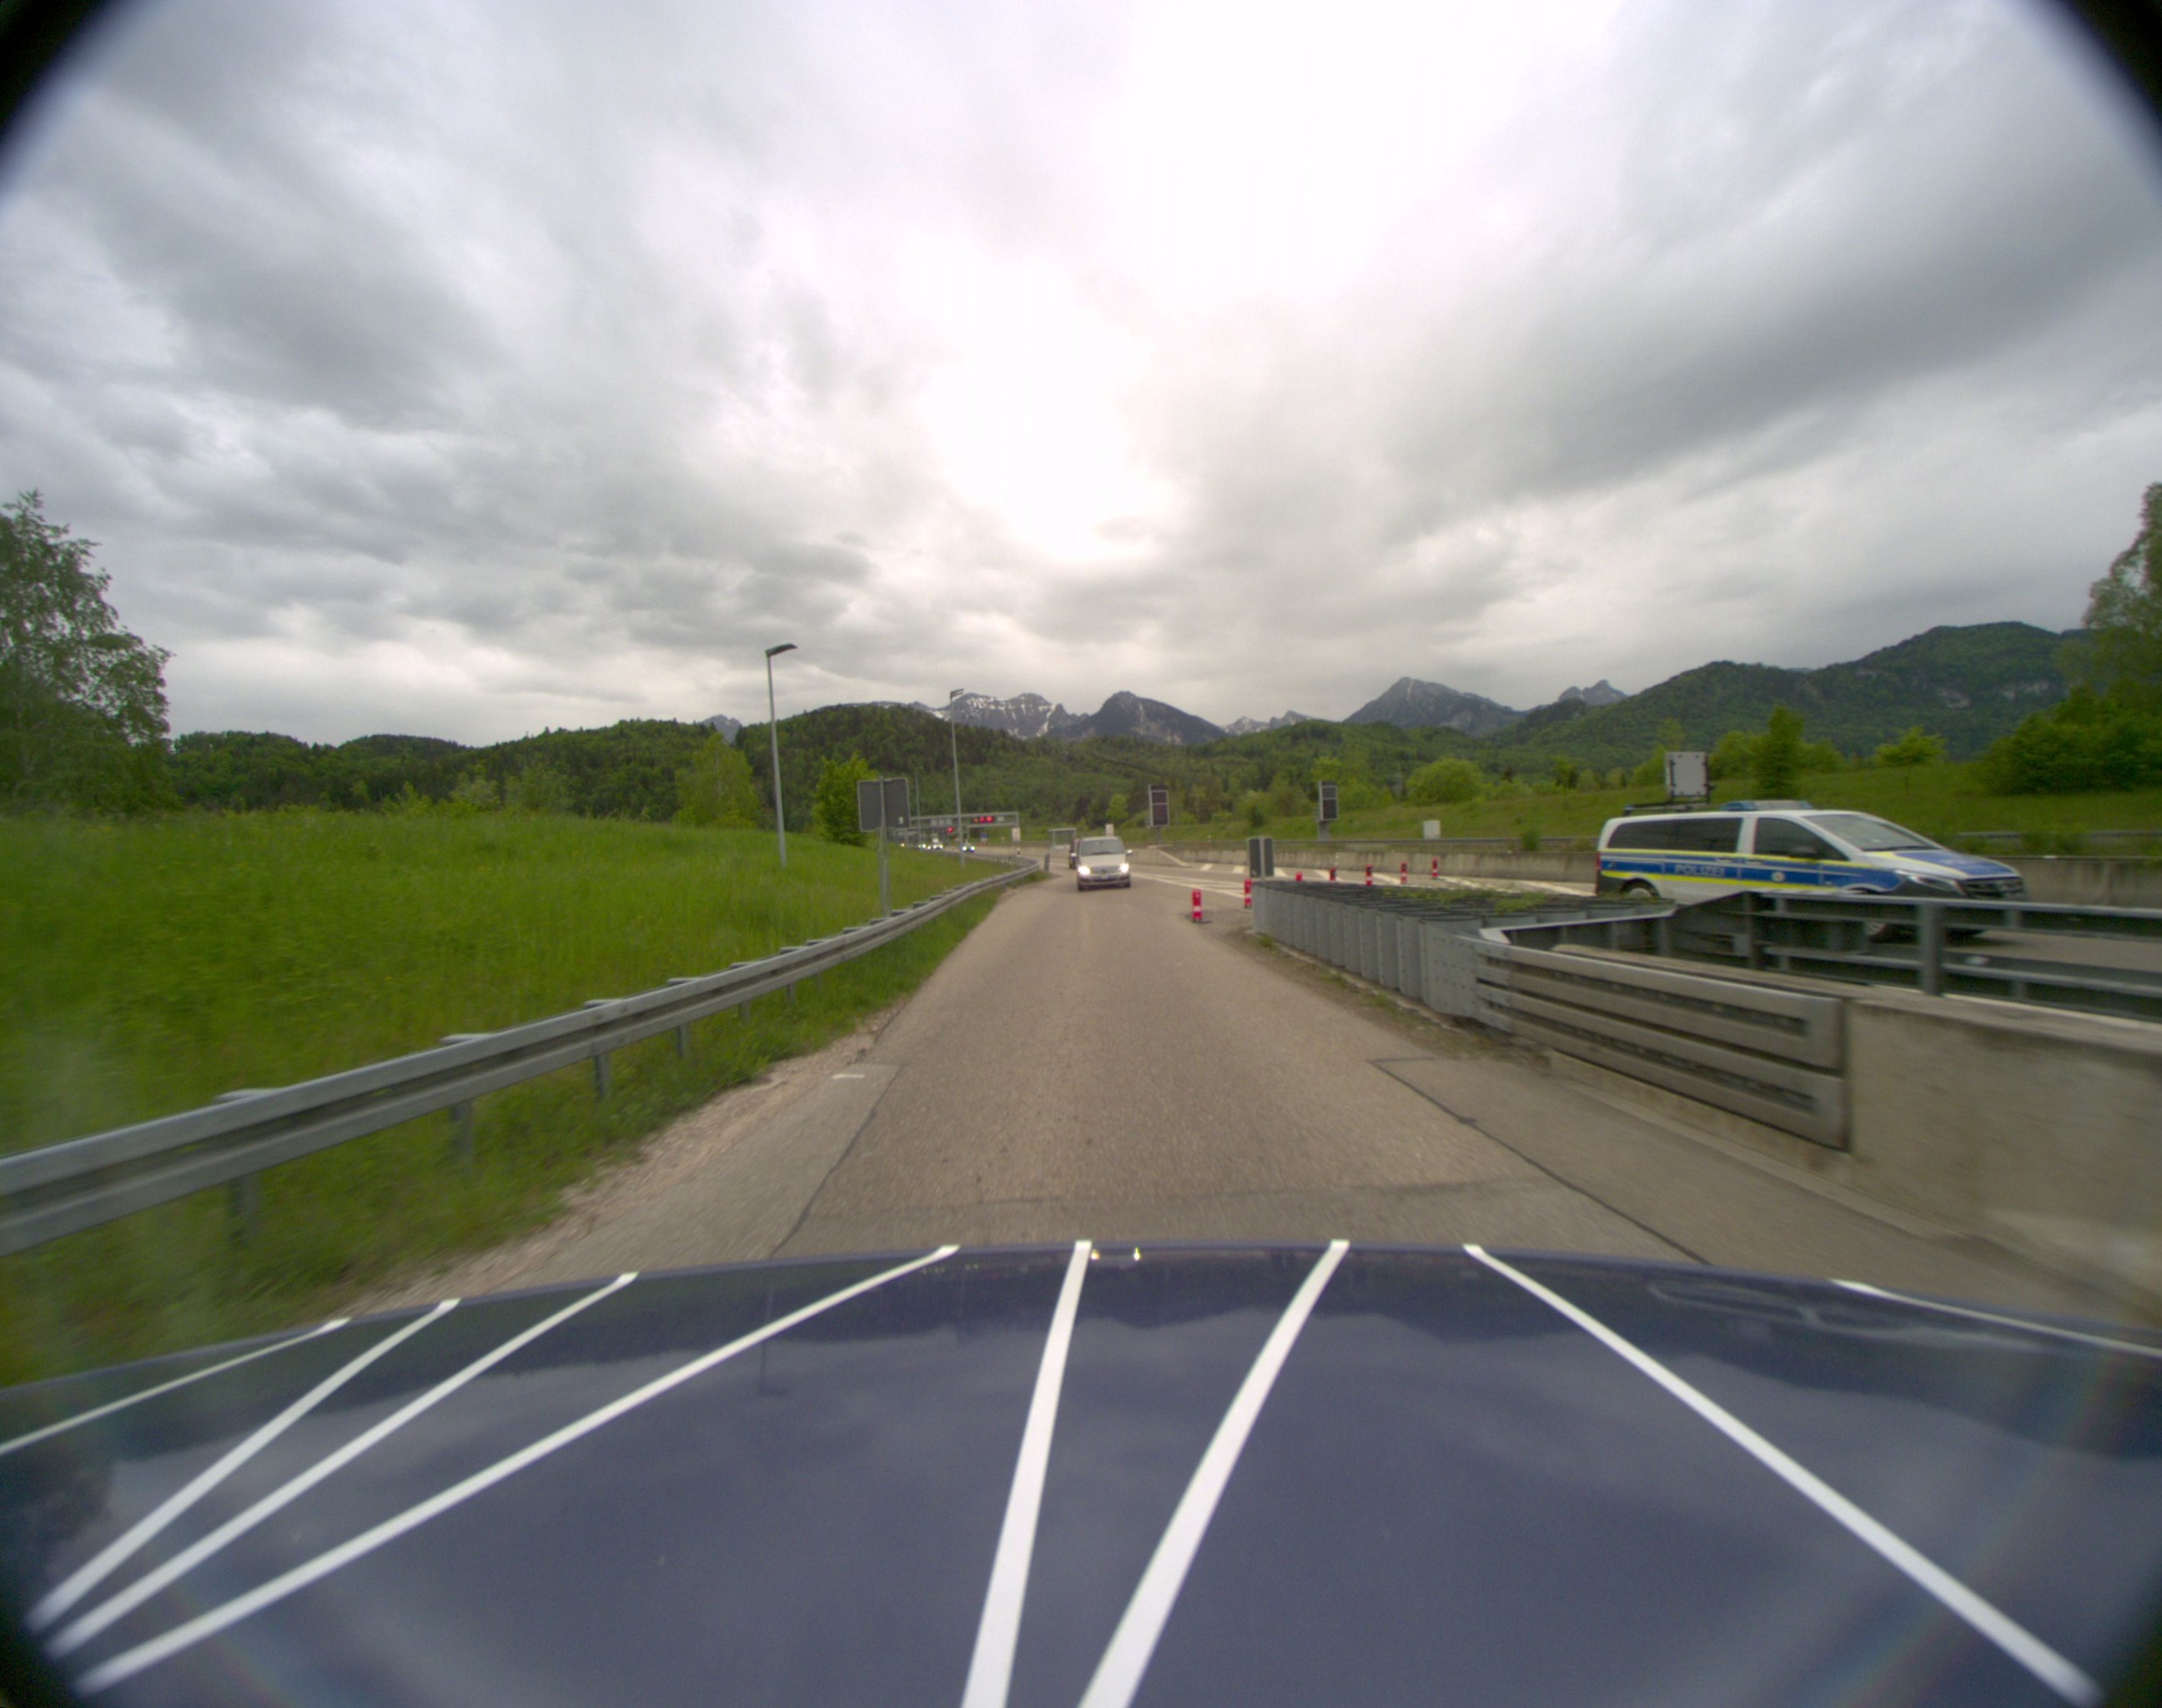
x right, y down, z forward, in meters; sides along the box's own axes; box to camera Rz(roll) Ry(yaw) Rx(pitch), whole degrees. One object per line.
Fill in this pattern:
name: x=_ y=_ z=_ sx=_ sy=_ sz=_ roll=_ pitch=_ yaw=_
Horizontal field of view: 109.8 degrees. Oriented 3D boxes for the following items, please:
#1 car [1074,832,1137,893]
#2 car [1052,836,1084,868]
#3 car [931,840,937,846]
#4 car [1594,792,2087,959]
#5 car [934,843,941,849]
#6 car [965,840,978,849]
car: x=0.861 y=0.222 z=27.829 sx=1.923 sy=1.871 sz=5.137 roll=-5 pitch=1 yaw=1
car: x=-0.729 y=-0.143 z=46.114 sx=1.756 sy=1.795 sz=3.999 roll=-2 pitch=1 yaw=1
car: x=-44.013 y=-3.225 z=227.353 sx=1.632 sy=1.688 sz=3.492 roll=-2 pitch=1 yaw=-10
car: x=11.293 y=0.195 z=12.012 sx=2.294 sy=2.002 sz=5.042 roll=-2 pitch=2 yaw=-13
car: x=-37.987 y=-2.108 z=201.294 sx=1.632 sy=1.688 sz=3.492 roll=-2 pitch=1 yaw=-10
car: x=-18.309 y=-1.608 z=126.887 sx=1.665 sy=1.329 sz=3.787 roll=-2 pitch=1 yaw=-14
